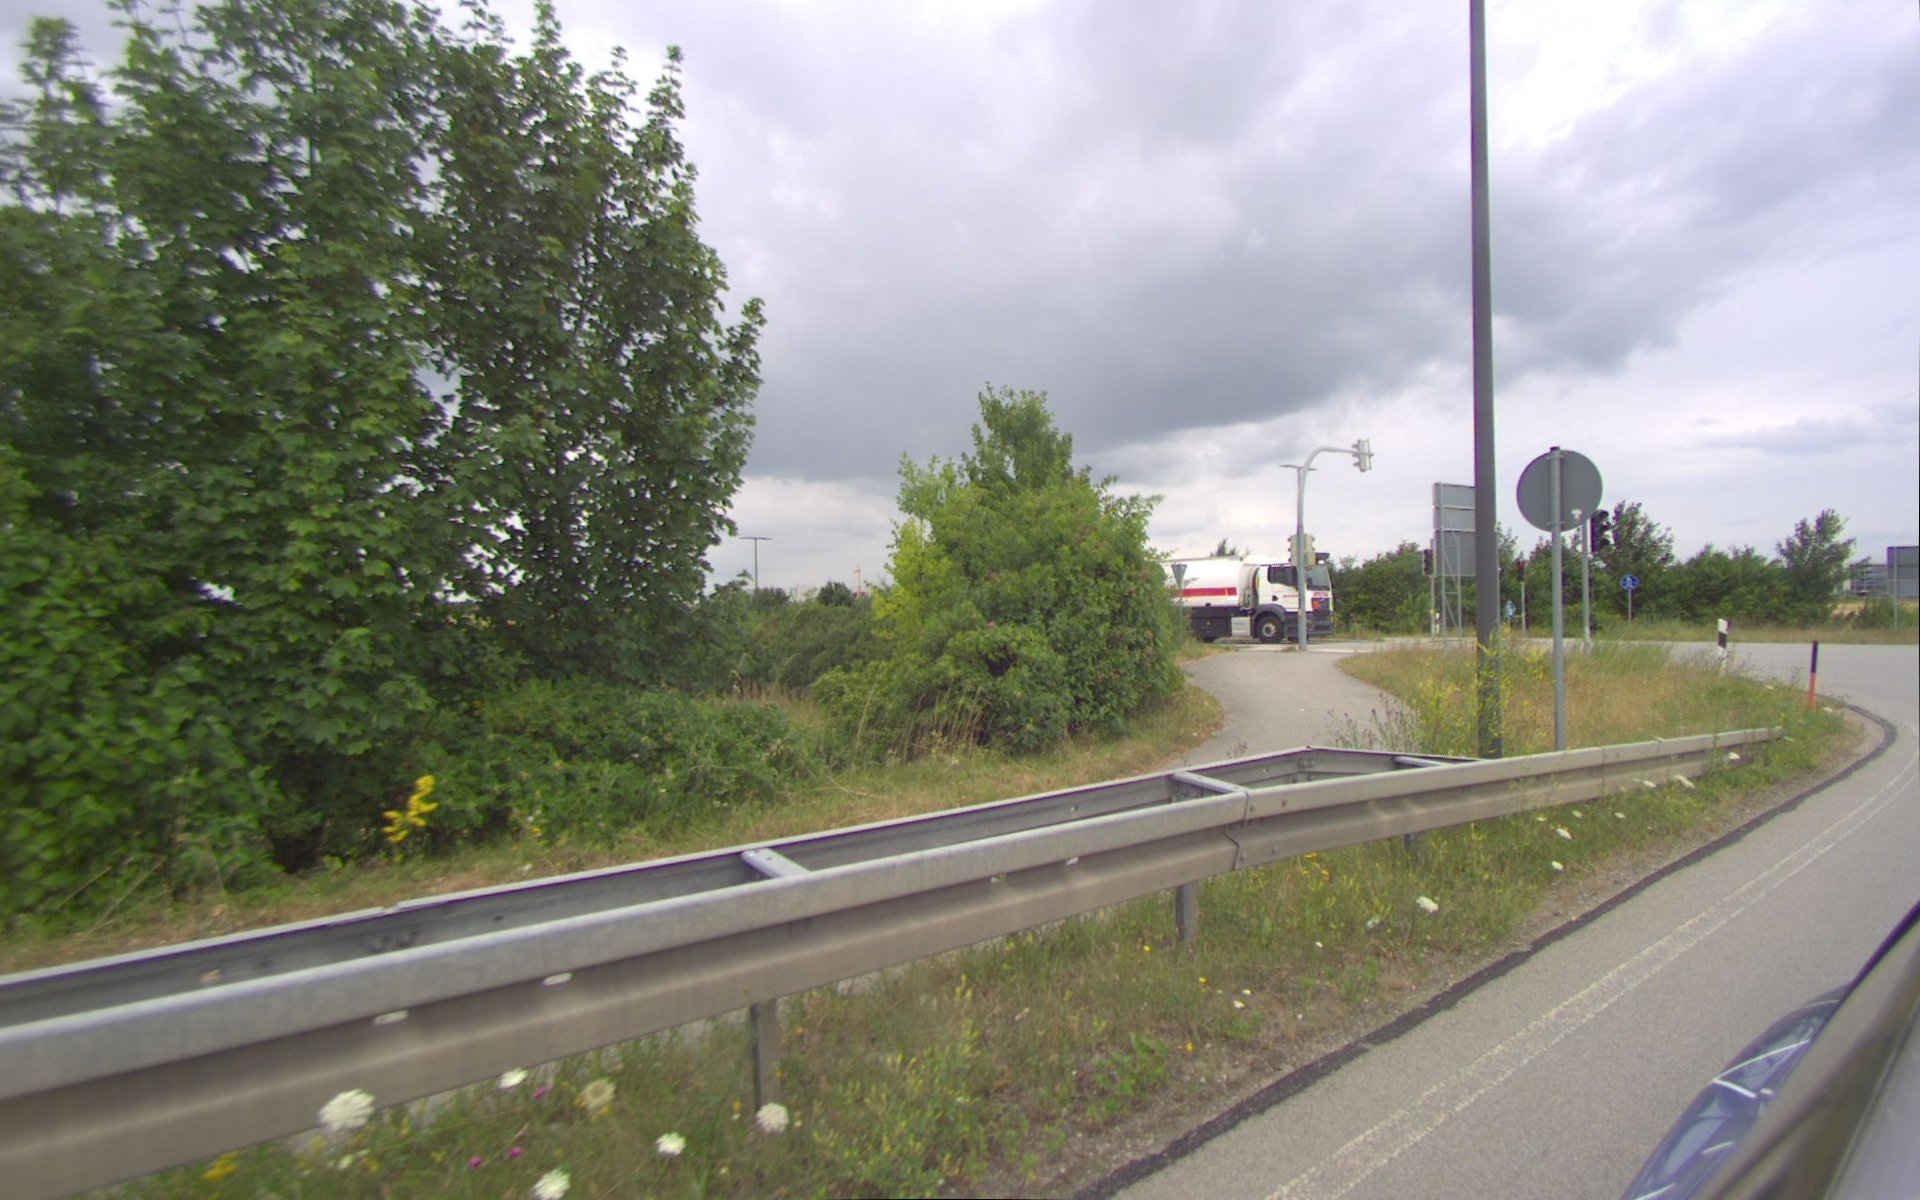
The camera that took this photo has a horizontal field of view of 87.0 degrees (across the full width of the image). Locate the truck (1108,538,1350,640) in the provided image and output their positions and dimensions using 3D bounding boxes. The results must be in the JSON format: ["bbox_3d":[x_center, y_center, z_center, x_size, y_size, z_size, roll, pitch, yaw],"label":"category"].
[{"bbox_3d":[9.941,-0.320,38.359,2.832,3.451,8.627,-1,-1,-44],"label":"truck"}]
